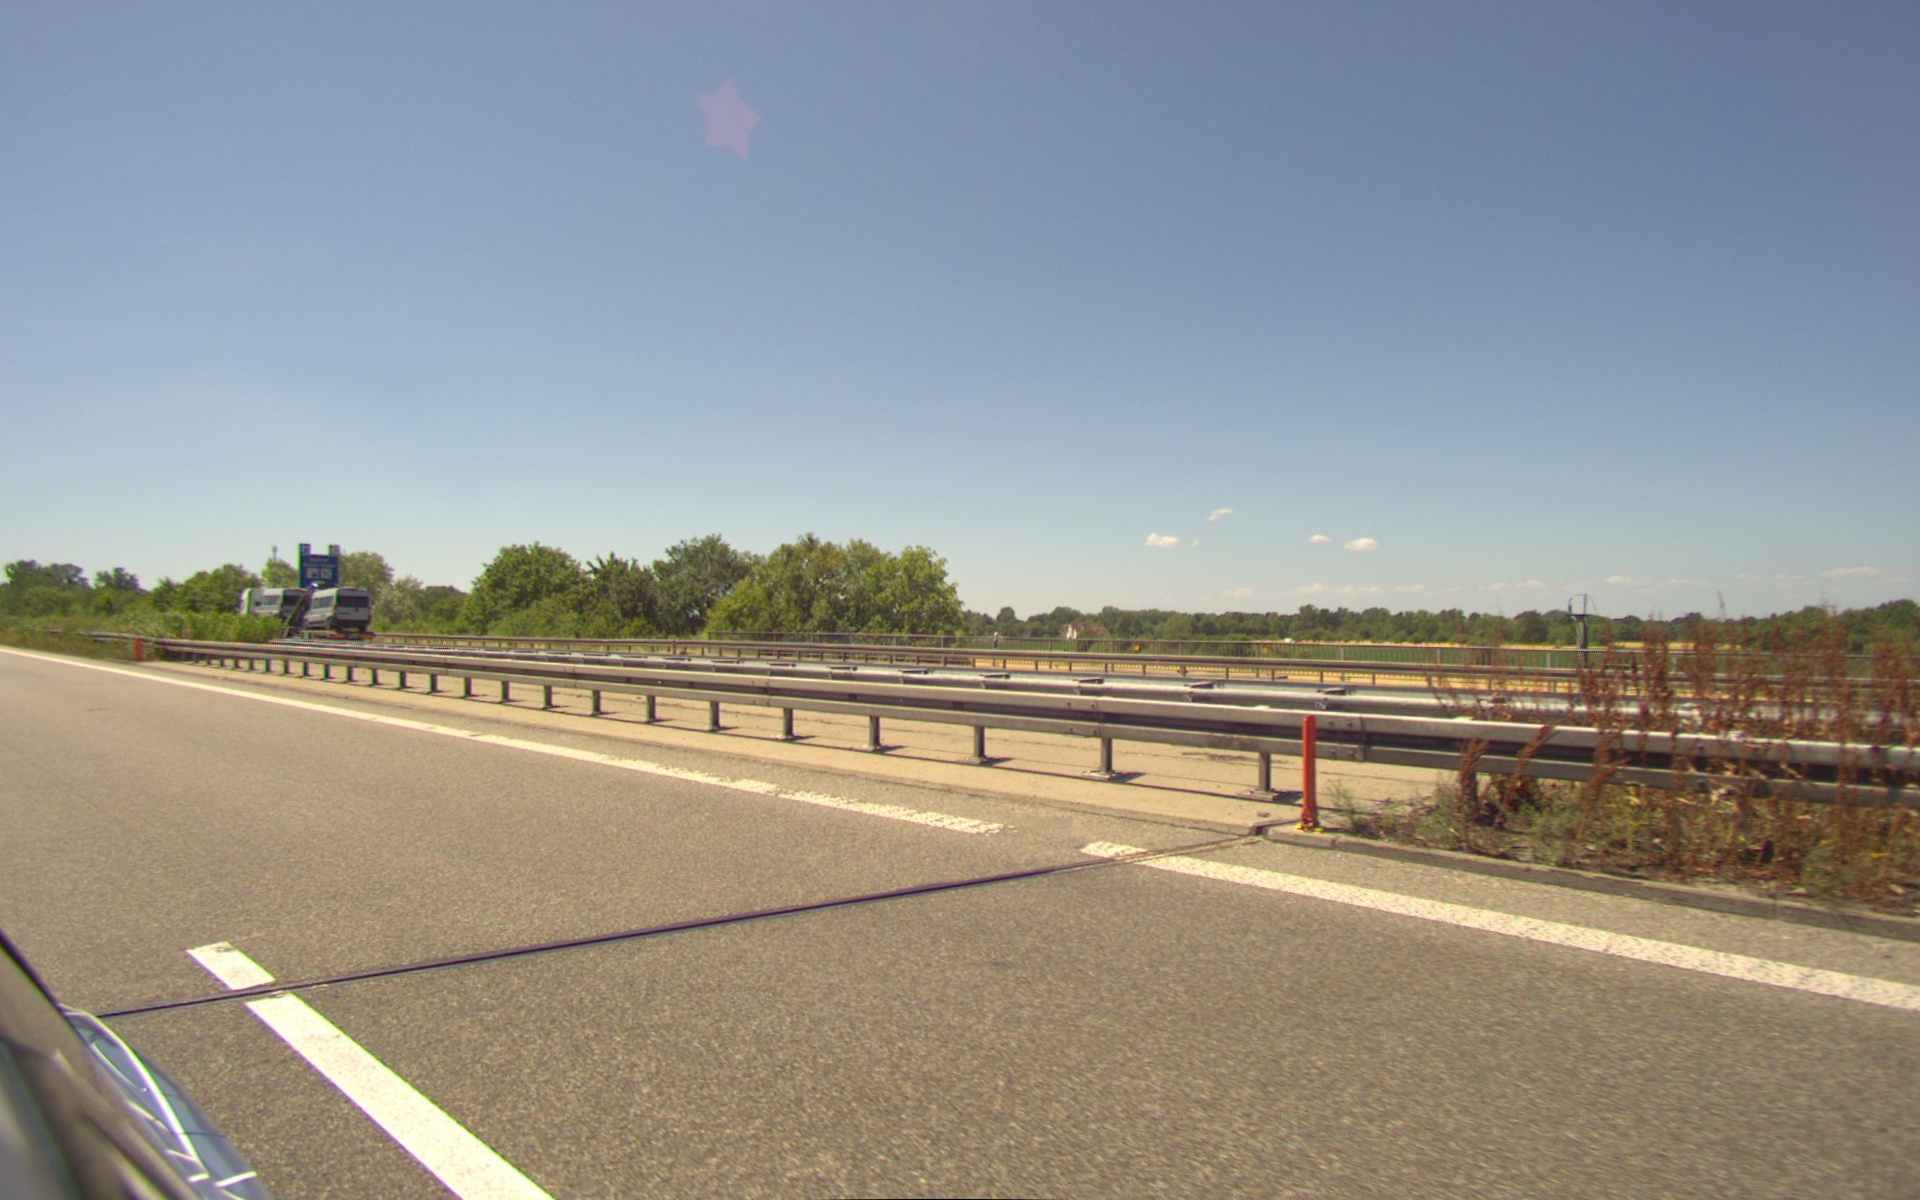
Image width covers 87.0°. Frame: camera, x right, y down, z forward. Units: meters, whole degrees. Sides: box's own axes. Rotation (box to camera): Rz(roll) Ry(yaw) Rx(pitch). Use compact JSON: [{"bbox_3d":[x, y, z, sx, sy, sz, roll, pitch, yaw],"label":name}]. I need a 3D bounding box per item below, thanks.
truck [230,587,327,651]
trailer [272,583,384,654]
[{"bbox_3d":[-45.696,1.244,67.672,9.617,4.021,2.887,-1,-1,41],"label":"truck"},{"bbox_3d":[-38.530,1.118,61.518,9.651,4.021,2.896,-1,-1,40],"label":"trailer"}]
